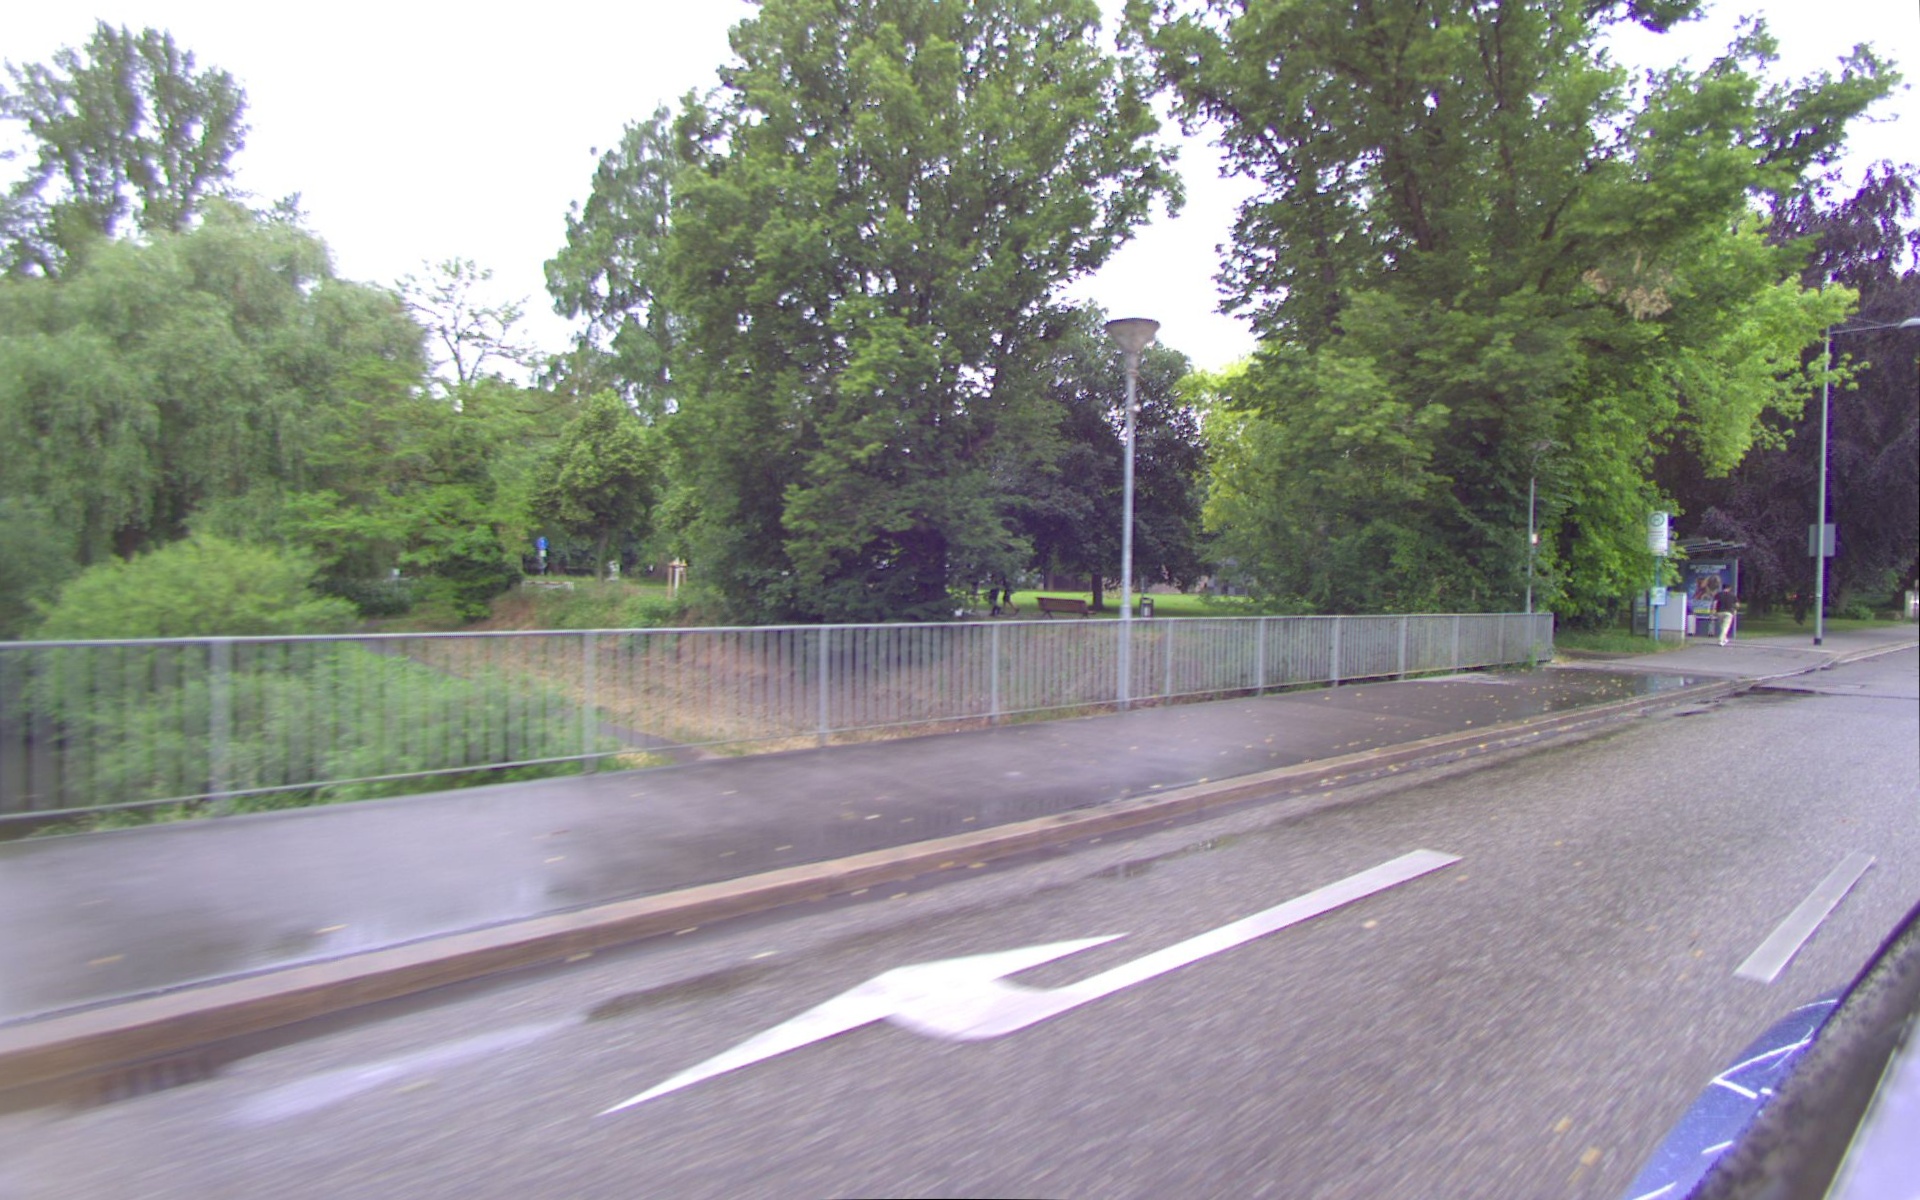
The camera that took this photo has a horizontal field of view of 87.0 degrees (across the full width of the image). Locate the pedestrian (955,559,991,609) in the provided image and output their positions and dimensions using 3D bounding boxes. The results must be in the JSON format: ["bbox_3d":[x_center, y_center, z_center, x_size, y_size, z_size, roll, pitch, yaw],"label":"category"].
[{"bbox_3d":[0.484,-0.575,36.636,1.057,1.774,0.770,2,2,45],"label":"pedestrian"}]

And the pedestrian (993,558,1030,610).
[{"bbox_3d":[1.805,-0.579,35.471,1.057,1.774,0.770,2,2,45],"label":"pedestrian"}]

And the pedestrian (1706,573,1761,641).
[{"bbox_3d":[20.430,0.167,26.727,1.147,1.696,0.849,-1,4,-41],"label":"pedestrian"}]

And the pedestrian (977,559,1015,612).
[{"bbox_3d":[1.238,-0.512,34.653,1.057,1.774,0.770,2,2,45],"label":"pedestrian"}]
